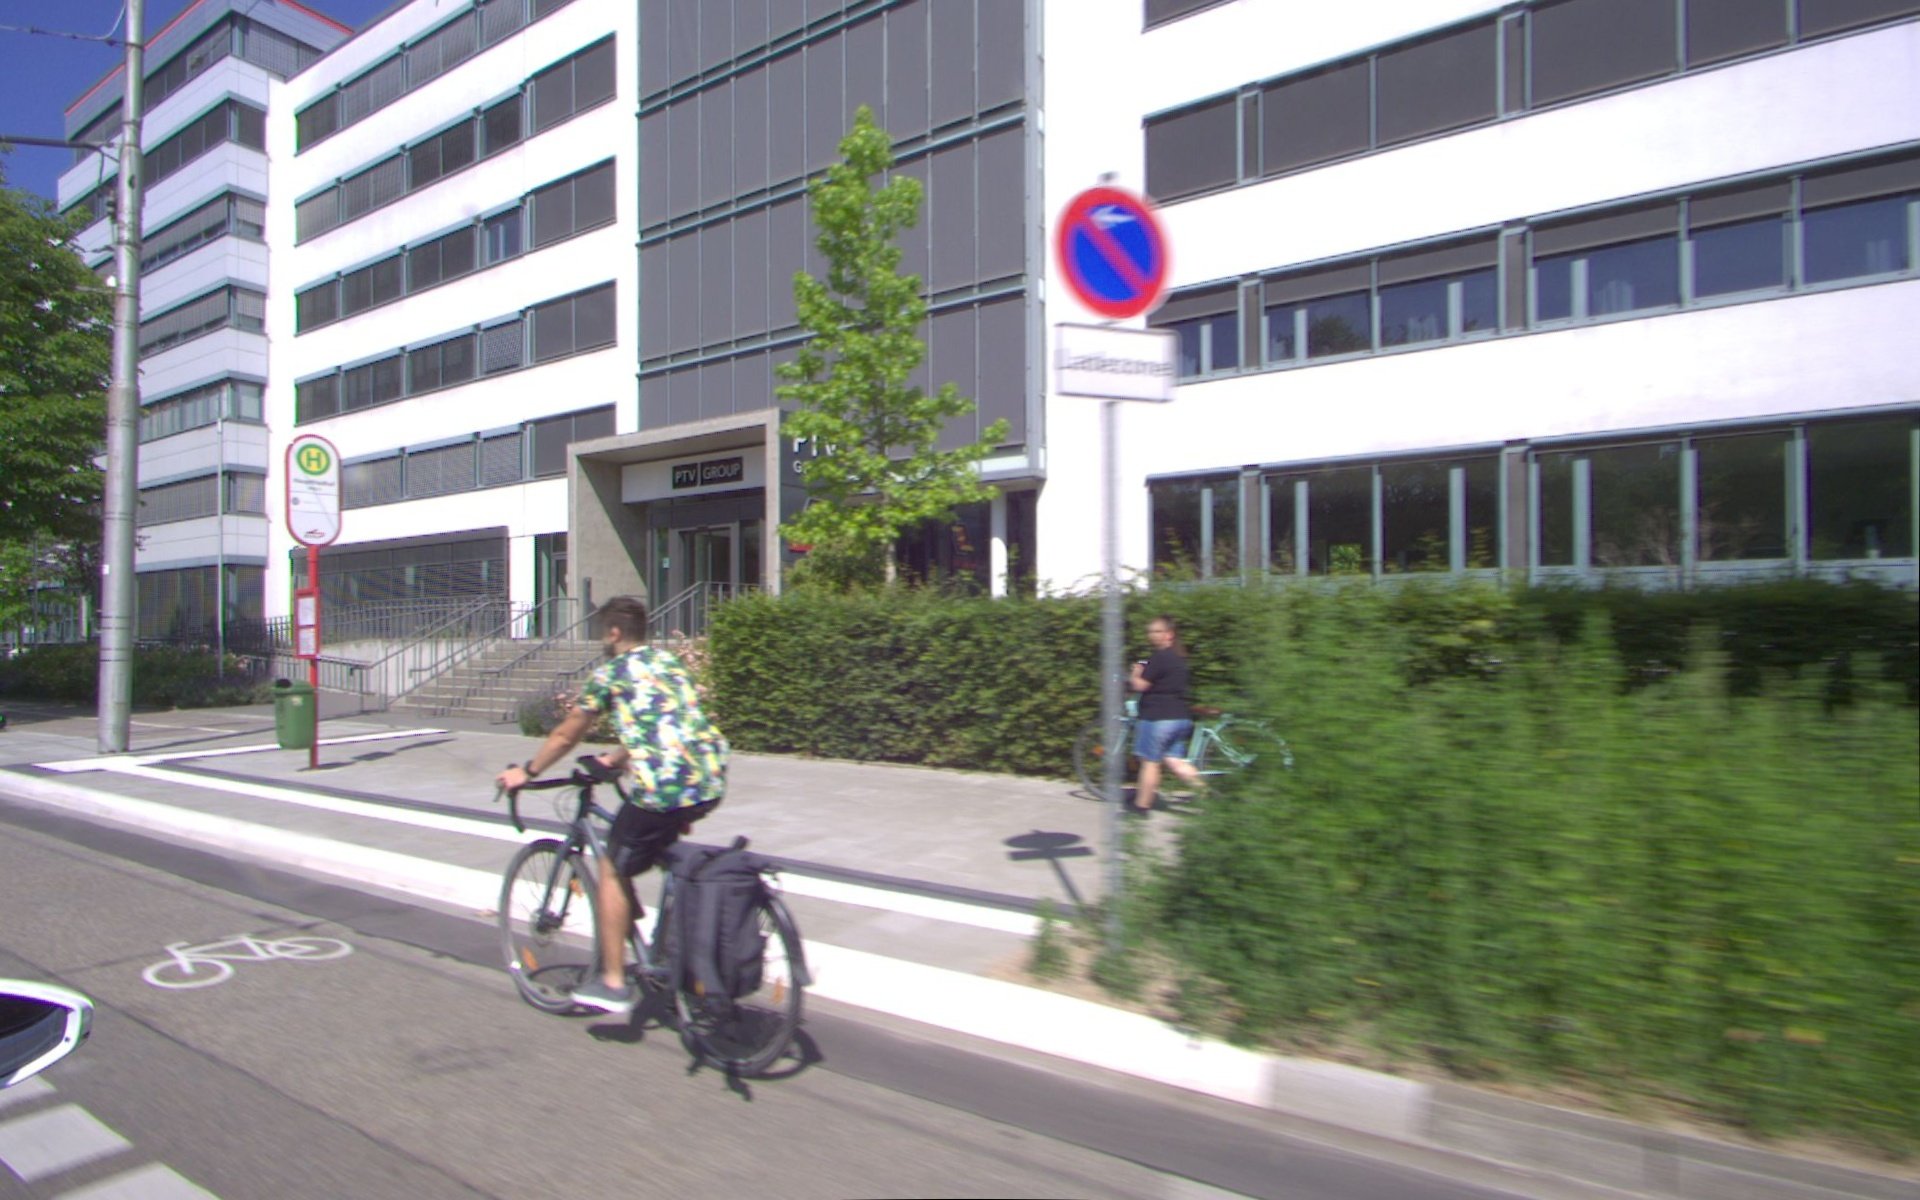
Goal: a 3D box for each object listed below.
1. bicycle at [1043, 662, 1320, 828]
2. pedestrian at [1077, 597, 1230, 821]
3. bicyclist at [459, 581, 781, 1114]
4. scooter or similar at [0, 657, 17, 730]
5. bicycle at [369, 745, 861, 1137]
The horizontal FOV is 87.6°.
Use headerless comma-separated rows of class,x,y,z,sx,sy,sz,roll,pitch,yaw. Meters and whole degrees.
bicycle,1.705,1.074,7.887,2.037,1.131,0.635,-1,-2,32
pedestrian,1.484,0.785,7.641,0.973,1.584,0.685,-1,0,29
bicyclist,-1.303,0.832,3.864,0.974,1.746,0.715,-1,-2,33
scooter or similar,-16.181,1.530,16.284,0.667,1.181,1.123,-1,-2,35
bicycle,-1.410,1.150,3.871,2.133,0.996,0.607,-1,-2,33
